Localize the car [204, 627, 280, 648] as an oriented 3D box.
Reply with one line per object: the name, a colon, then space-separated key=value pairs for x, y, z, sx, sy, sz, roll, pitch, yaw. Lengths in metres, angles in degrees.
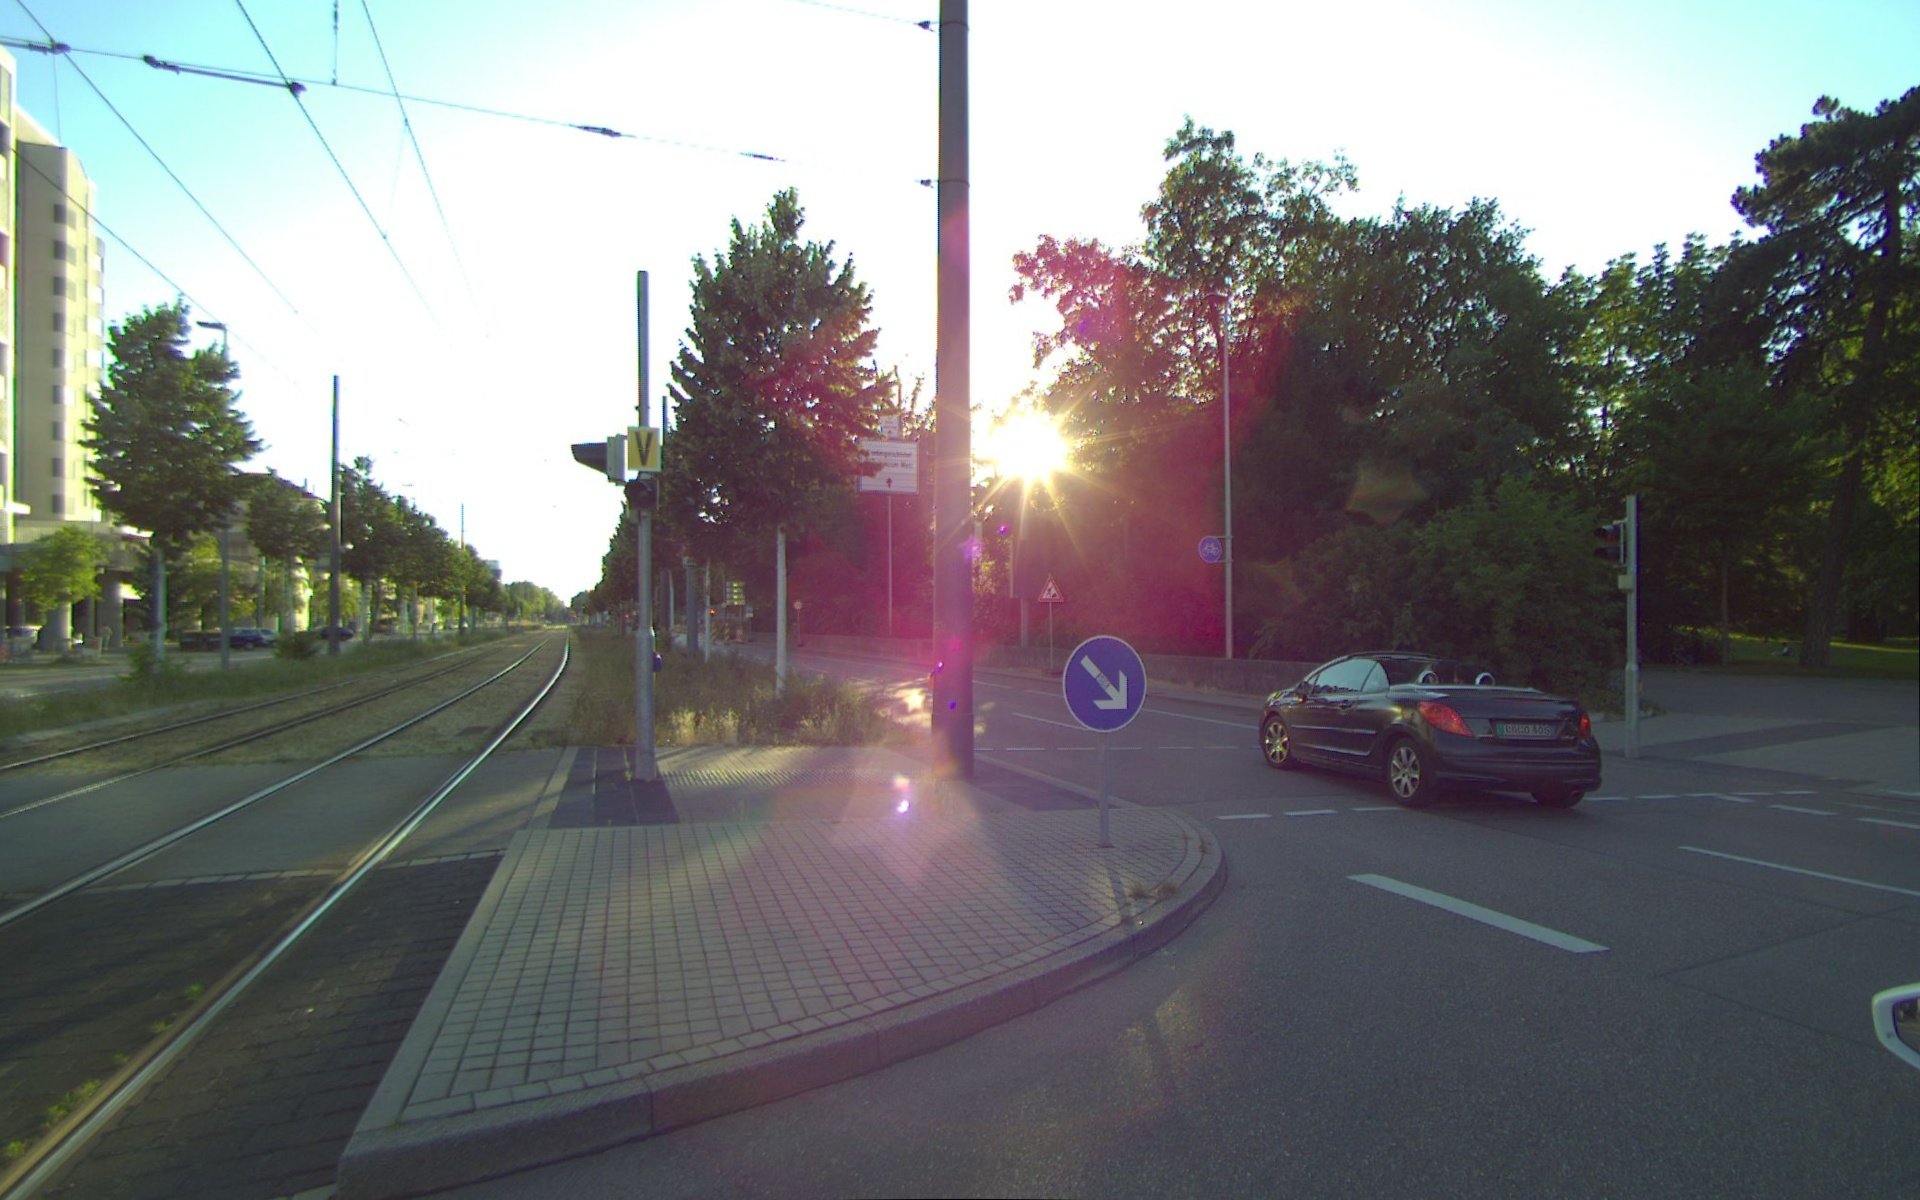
car: x=-52.572 y=2.769 z=73.607 sx=1.792 sy=1.454 sz=4.125 roll=1 pitch=-2 yaw=29

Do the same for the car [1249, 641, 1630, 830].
car: x=4.559 y=1.196 z=10.281 sx=1.692 sy=1.469 sz=3.897 roll=0 pitch=-1 yaw=-7

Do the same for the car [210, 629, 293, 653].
car: x=-49.130 y=2.821 z=69.756 sx=1.973 sy=1.611 sz=4.279 roll=-1 pitch=-2 yaw=28
